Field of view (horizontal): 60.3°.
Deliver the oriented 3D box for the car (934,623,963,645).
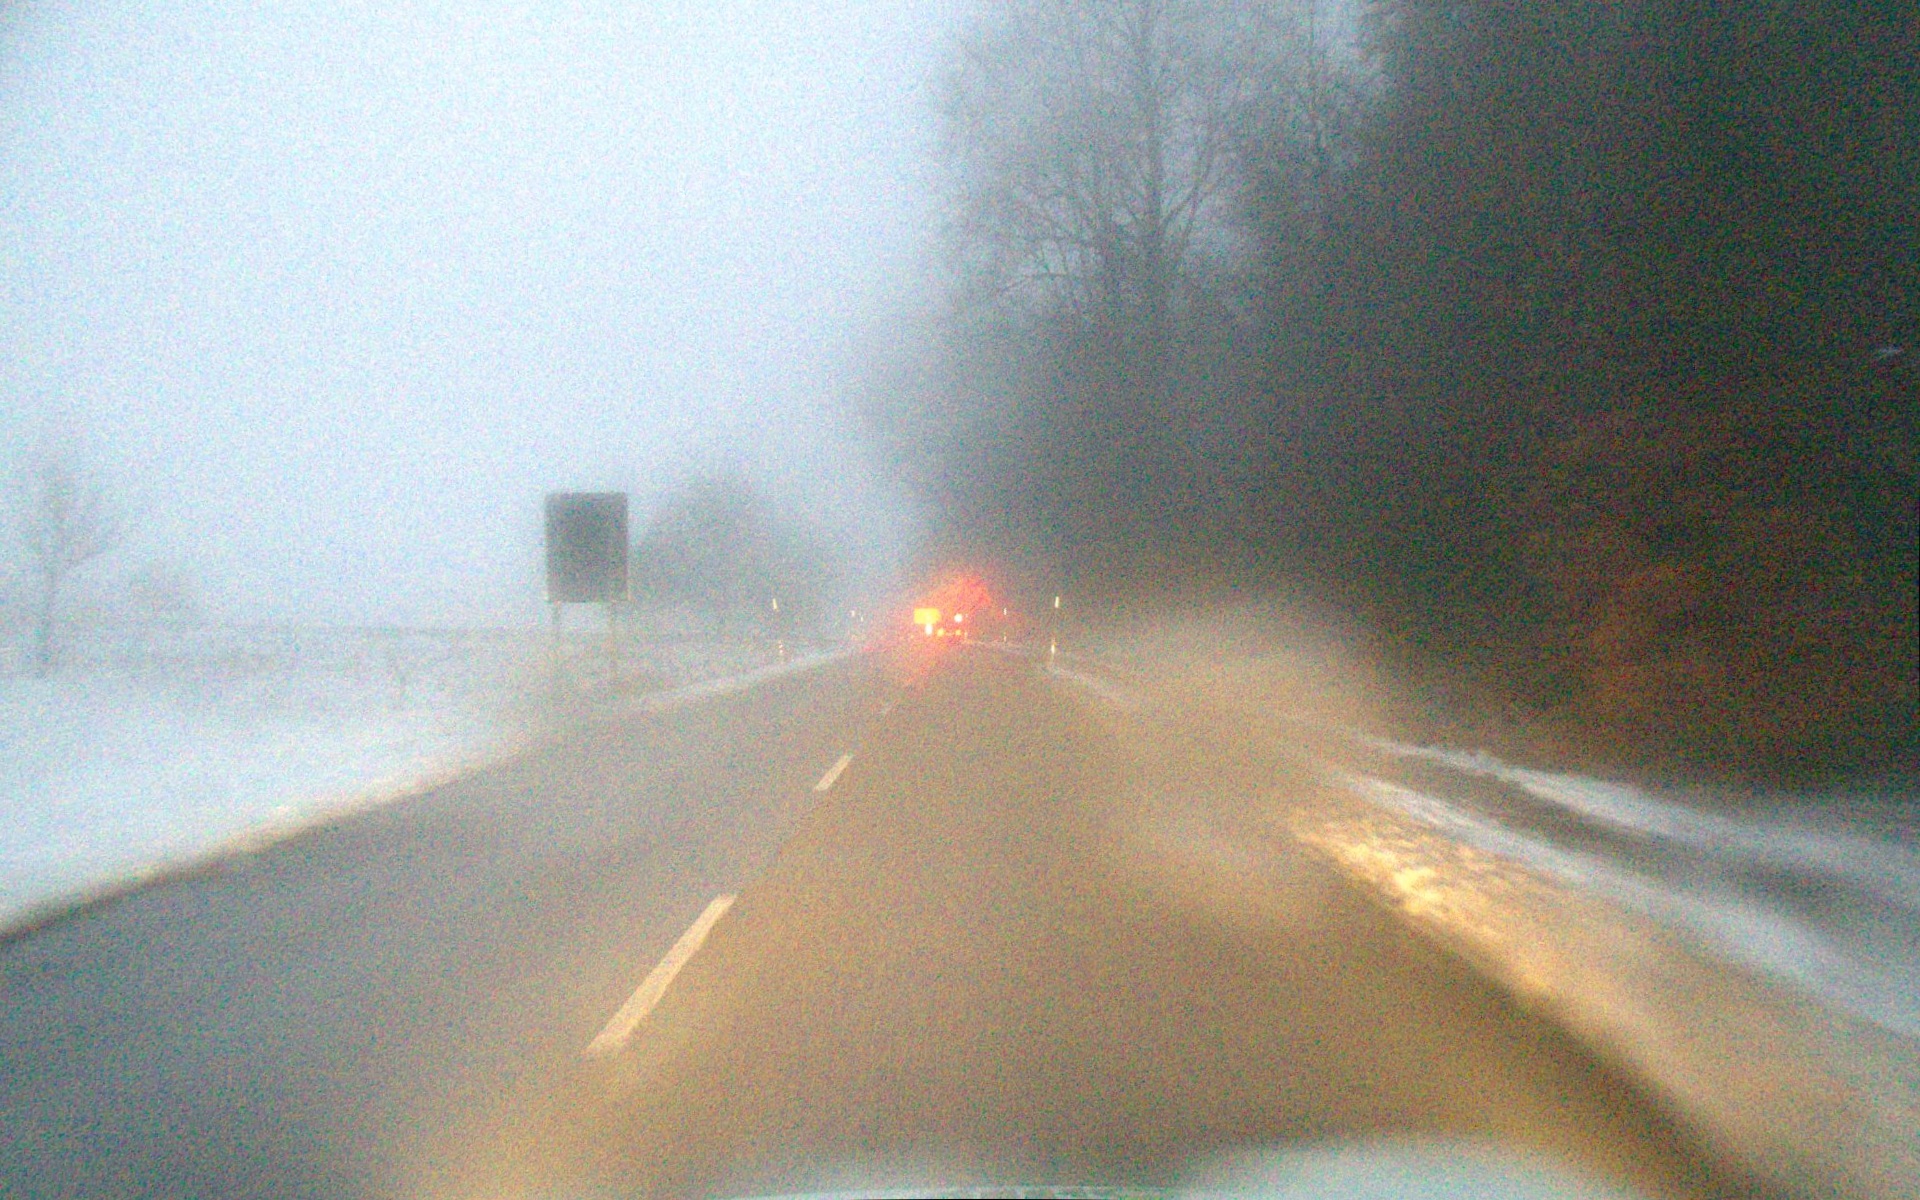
[{"bbox_3d":[-0.853,2.476,120.329,1.953,1.445,3.998,-1,-2,-2],"label":"car"}]
